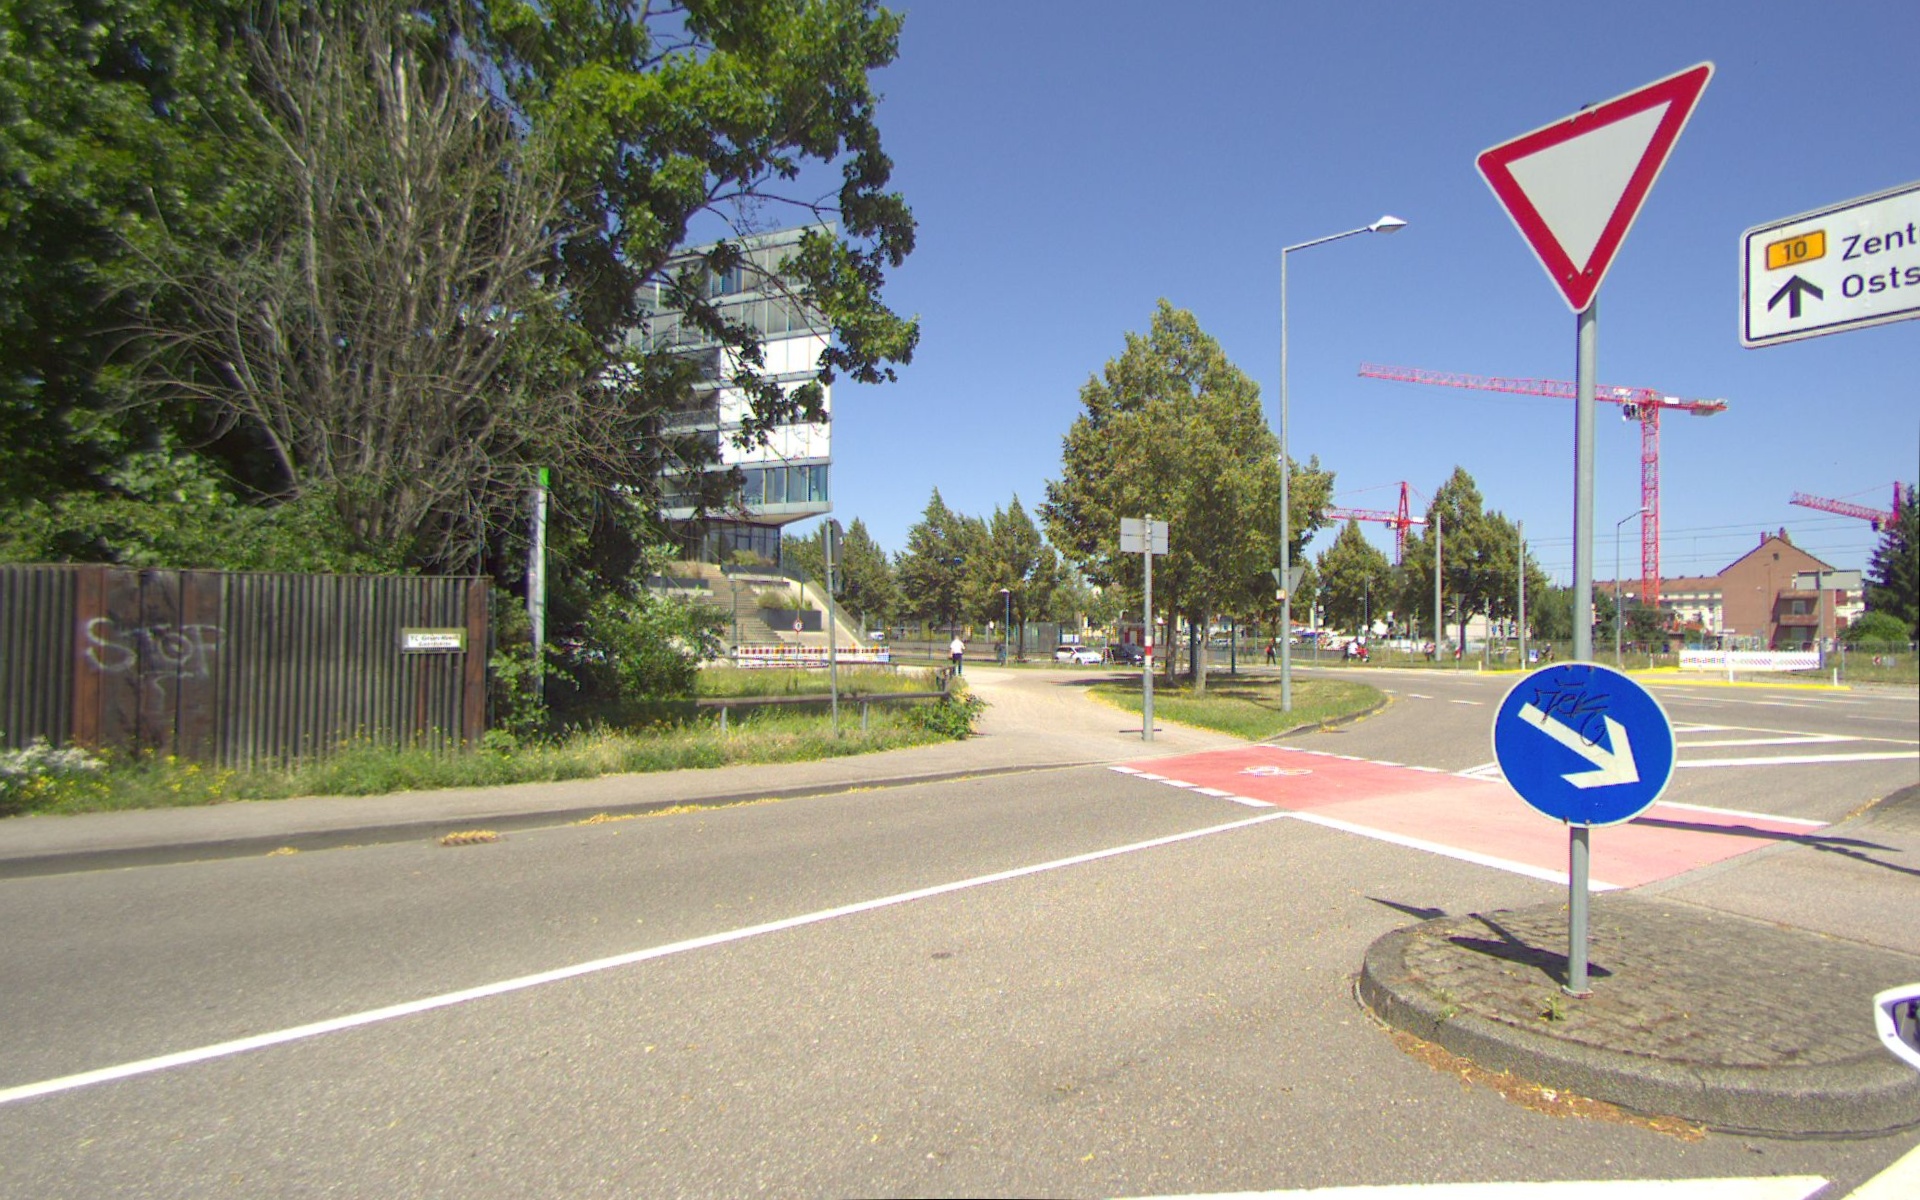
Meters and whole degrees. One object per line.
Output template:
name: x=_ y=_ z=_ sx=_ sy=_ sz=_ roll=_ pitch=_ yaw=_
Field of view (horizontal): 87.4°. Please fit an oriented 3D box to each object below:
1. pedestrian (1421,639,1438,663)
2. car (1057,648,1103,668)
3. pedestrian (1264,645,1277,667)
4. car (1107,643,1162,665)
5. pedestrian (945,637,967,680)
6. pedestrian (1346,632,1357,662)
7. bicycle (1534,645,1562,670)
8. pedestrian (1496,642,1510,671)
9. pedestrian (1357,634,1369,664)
pedestrian: x=33.665 y=3.665 z=72.070 sx=0.748 sy=1.661 sz=0.778 roll=2 pitch=-1 yaw=-16
car: x=8.226 y=3.975 z=69.099 sx=1.557 sy=1.241 sz=3.301 roll=2 pitch=-1 yaw=-26
pedestrian: x=19.887 y=3.567 z=64.292 sx=0.589 sy=1.424 sz=0.540 roll=1 pitch=-2 yaw=-26
car: x=11.083 y=3.429 z=64.028 sx=1.719 sy=1.228 sz=3.542 roll=2 pitch=-1 yaw=-26
pedestrian: x=-0.164 y=2.617 z=44.821 sx=0.821 sy=1.893 sz=0.610 roll=2 pitch=-1 yaw=-15
pedestrian: x=25.807 y=3.111 z=66.176 sx=0.618 sy=1.960 sz=0.646 roll=-1 pitch=-2 yaw=27
bicycle: x=41.856 y=4.090 z=71.520 sx=2.054 sy=1.707 sz=0.557 roll=2 pitch=-1 yaw=-20
pedestrian: x=39.203 y=4.064 z=72.536 sx=0.587 sy=2.040 sz=0.599 roll=2 pitch=-1 yaw=-29
pedestrian: x=26.598 y=3.209 z=66.274 sx=0.618 sy=1.960 sz=0.646 roll=-1 pitch=-2 yaw=27
